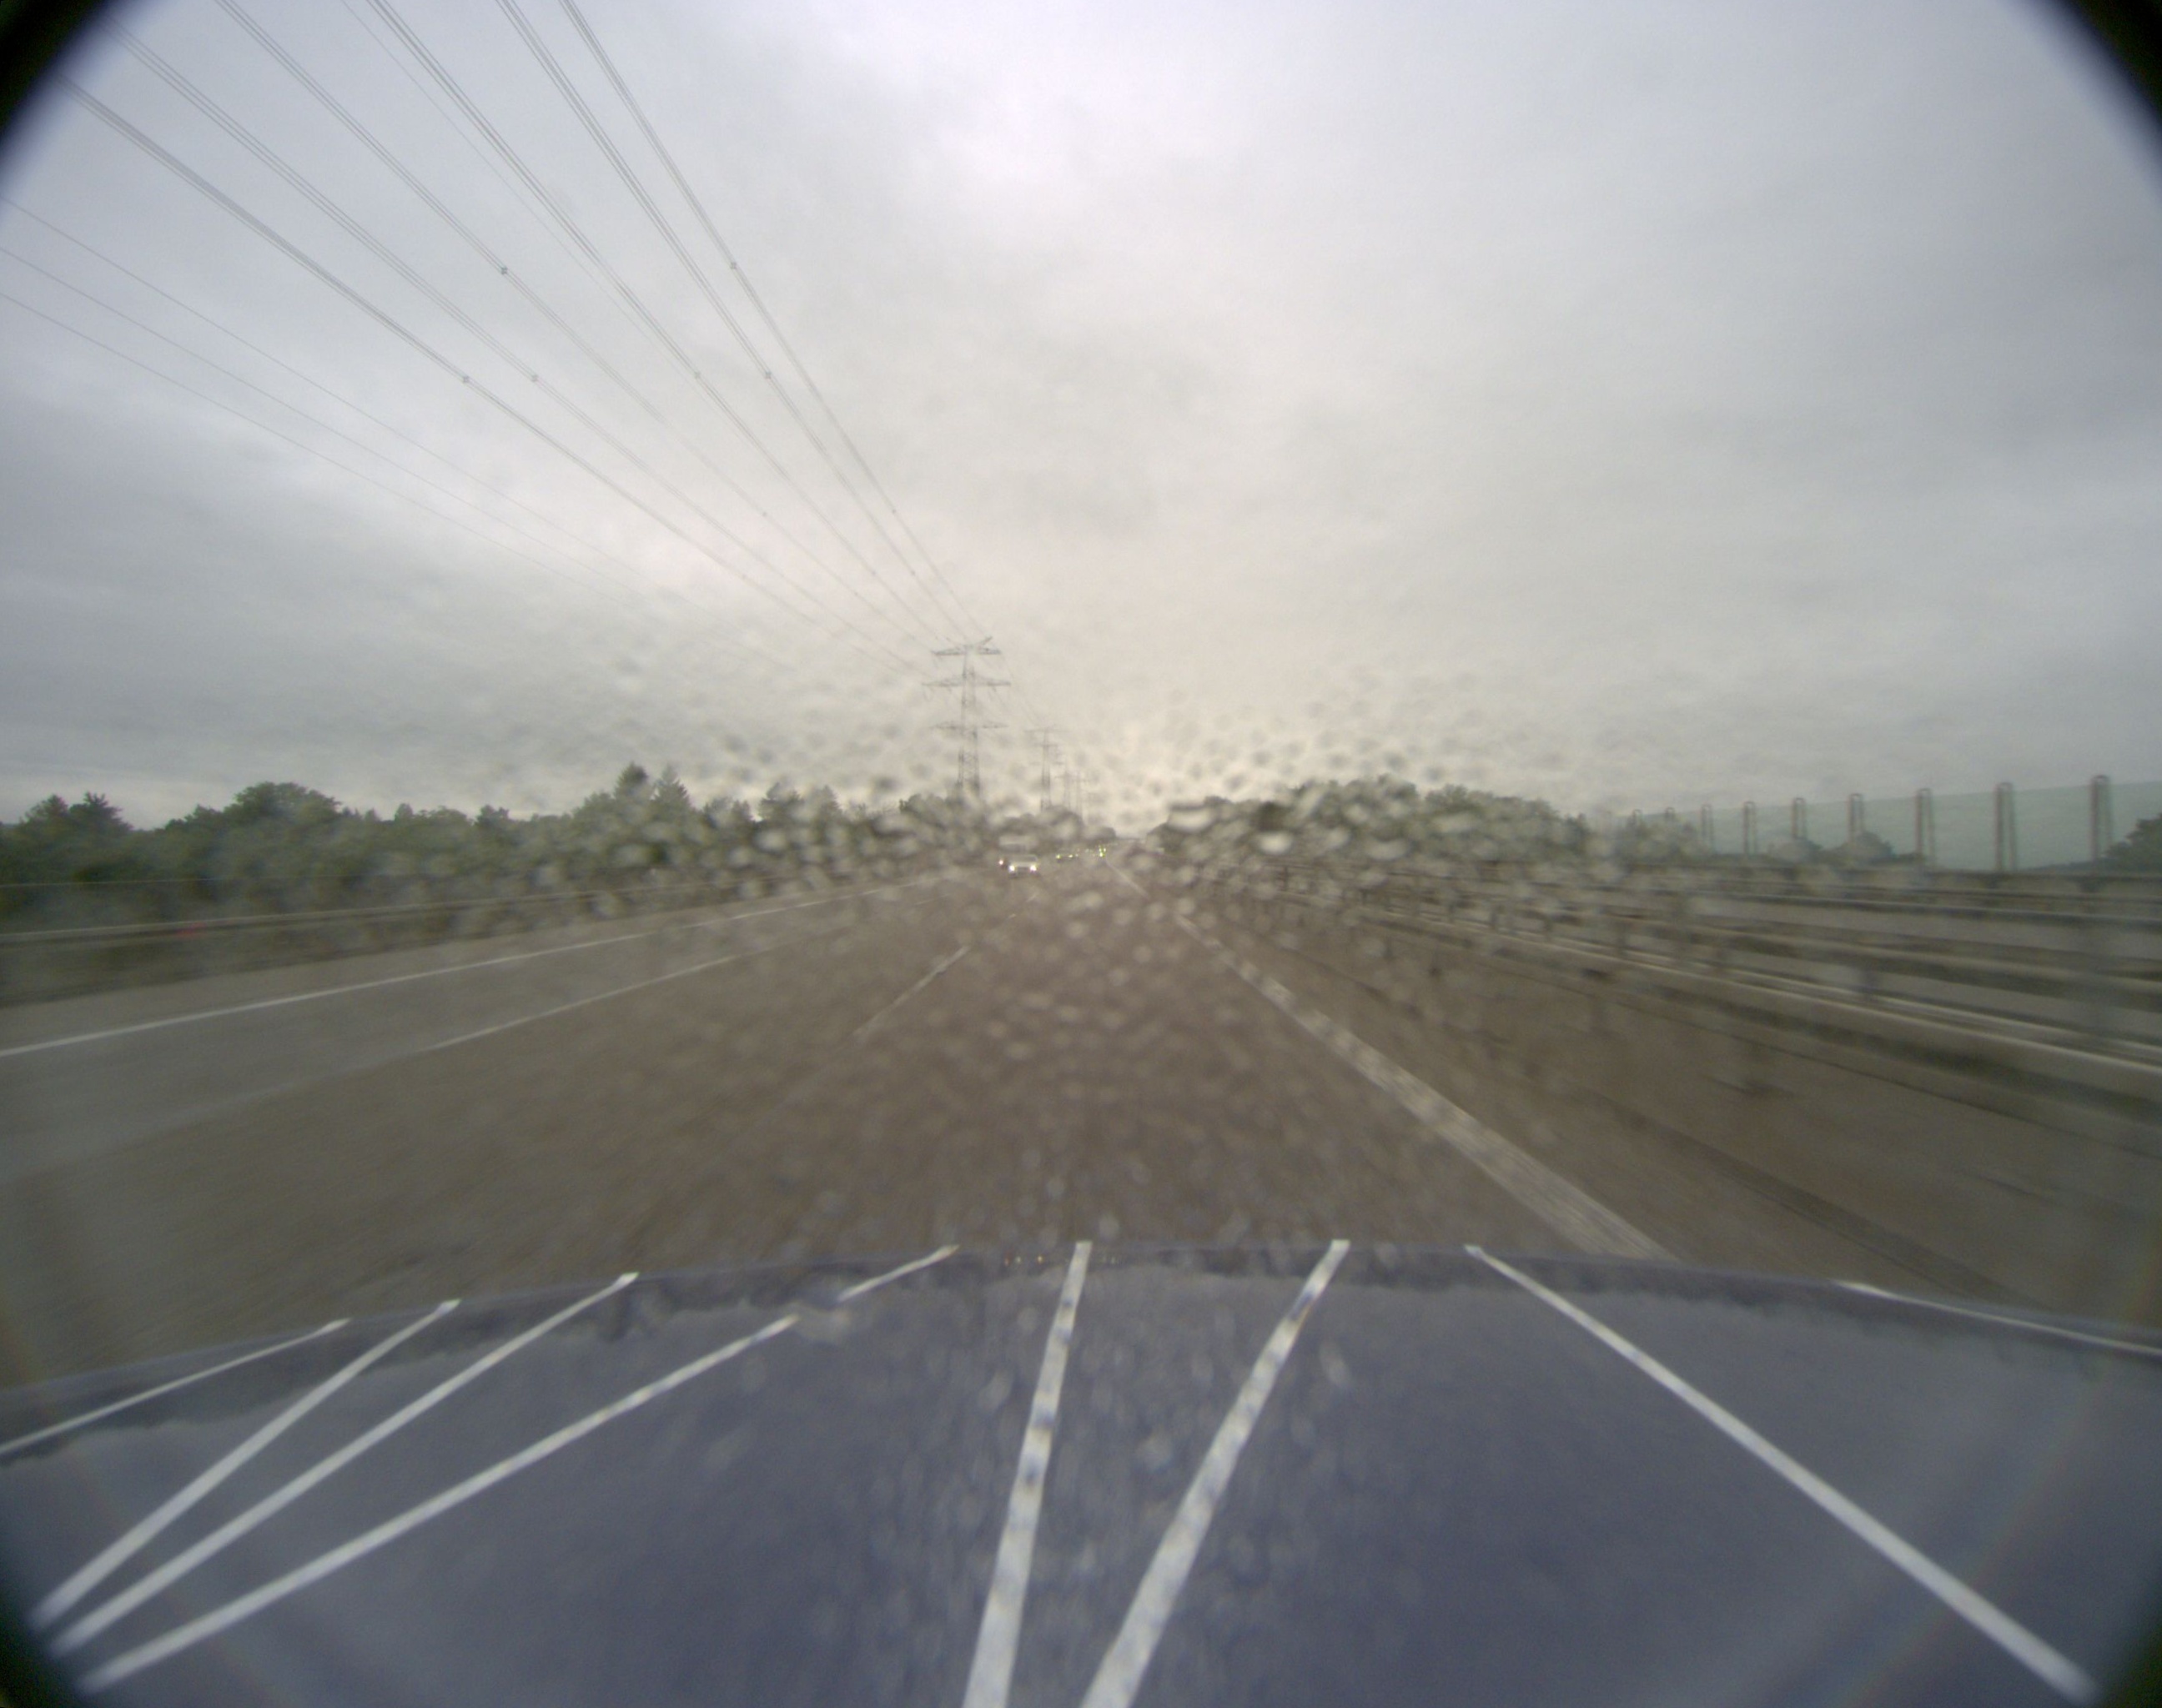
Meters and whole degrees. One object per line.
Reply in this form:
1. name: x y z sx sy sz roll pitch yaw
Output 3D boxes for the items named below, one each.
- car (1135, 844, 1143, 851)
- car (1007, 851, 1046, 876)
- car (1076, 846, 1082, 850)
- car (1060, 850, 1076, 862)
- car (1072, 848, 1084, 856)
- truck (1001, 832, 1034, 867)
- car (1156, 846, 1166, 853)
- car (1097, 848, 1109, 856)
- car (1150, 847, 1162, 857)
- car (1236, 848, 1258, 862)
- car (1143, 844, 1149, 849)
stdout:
1. car: 14.223 -1.627 186.645 1.688 1.528 3.859 -1 1 1
2. car: -3.331 0.583 47.191 1.998 1.418 4.000 -2 0 1
3. car: -0.559 -1.874 237.026 1.783 1.482 4.000 -2 0 1
4. car: -1.711 0.233 100.849 1.998 1.418 4.000 -2 0 1
5. car: -0.512 -0.306 139.026 1.998 1.418 4.000 -2 0 1
6. truck: -6.489 -0.479 79.029 2.649 3.325 6.930 -2 1 1
7. car: 17.214 -0.949 163.185 1.688 1.528 3.859 -1 1 1
8. car: 4.038 -0.421 138.427 1.998 1.418 4.000 -2 0 1
9. car: 12.432 -0.349 125.931 1.688 1.528 3.859 -1 1 1
10. car: 18.305 0.133 83.840 1.688 1.488 3.859 -1 0 1
11. car: 19.810 -2.184 231.811 1.688 1.528 3.859 -1 1 1
